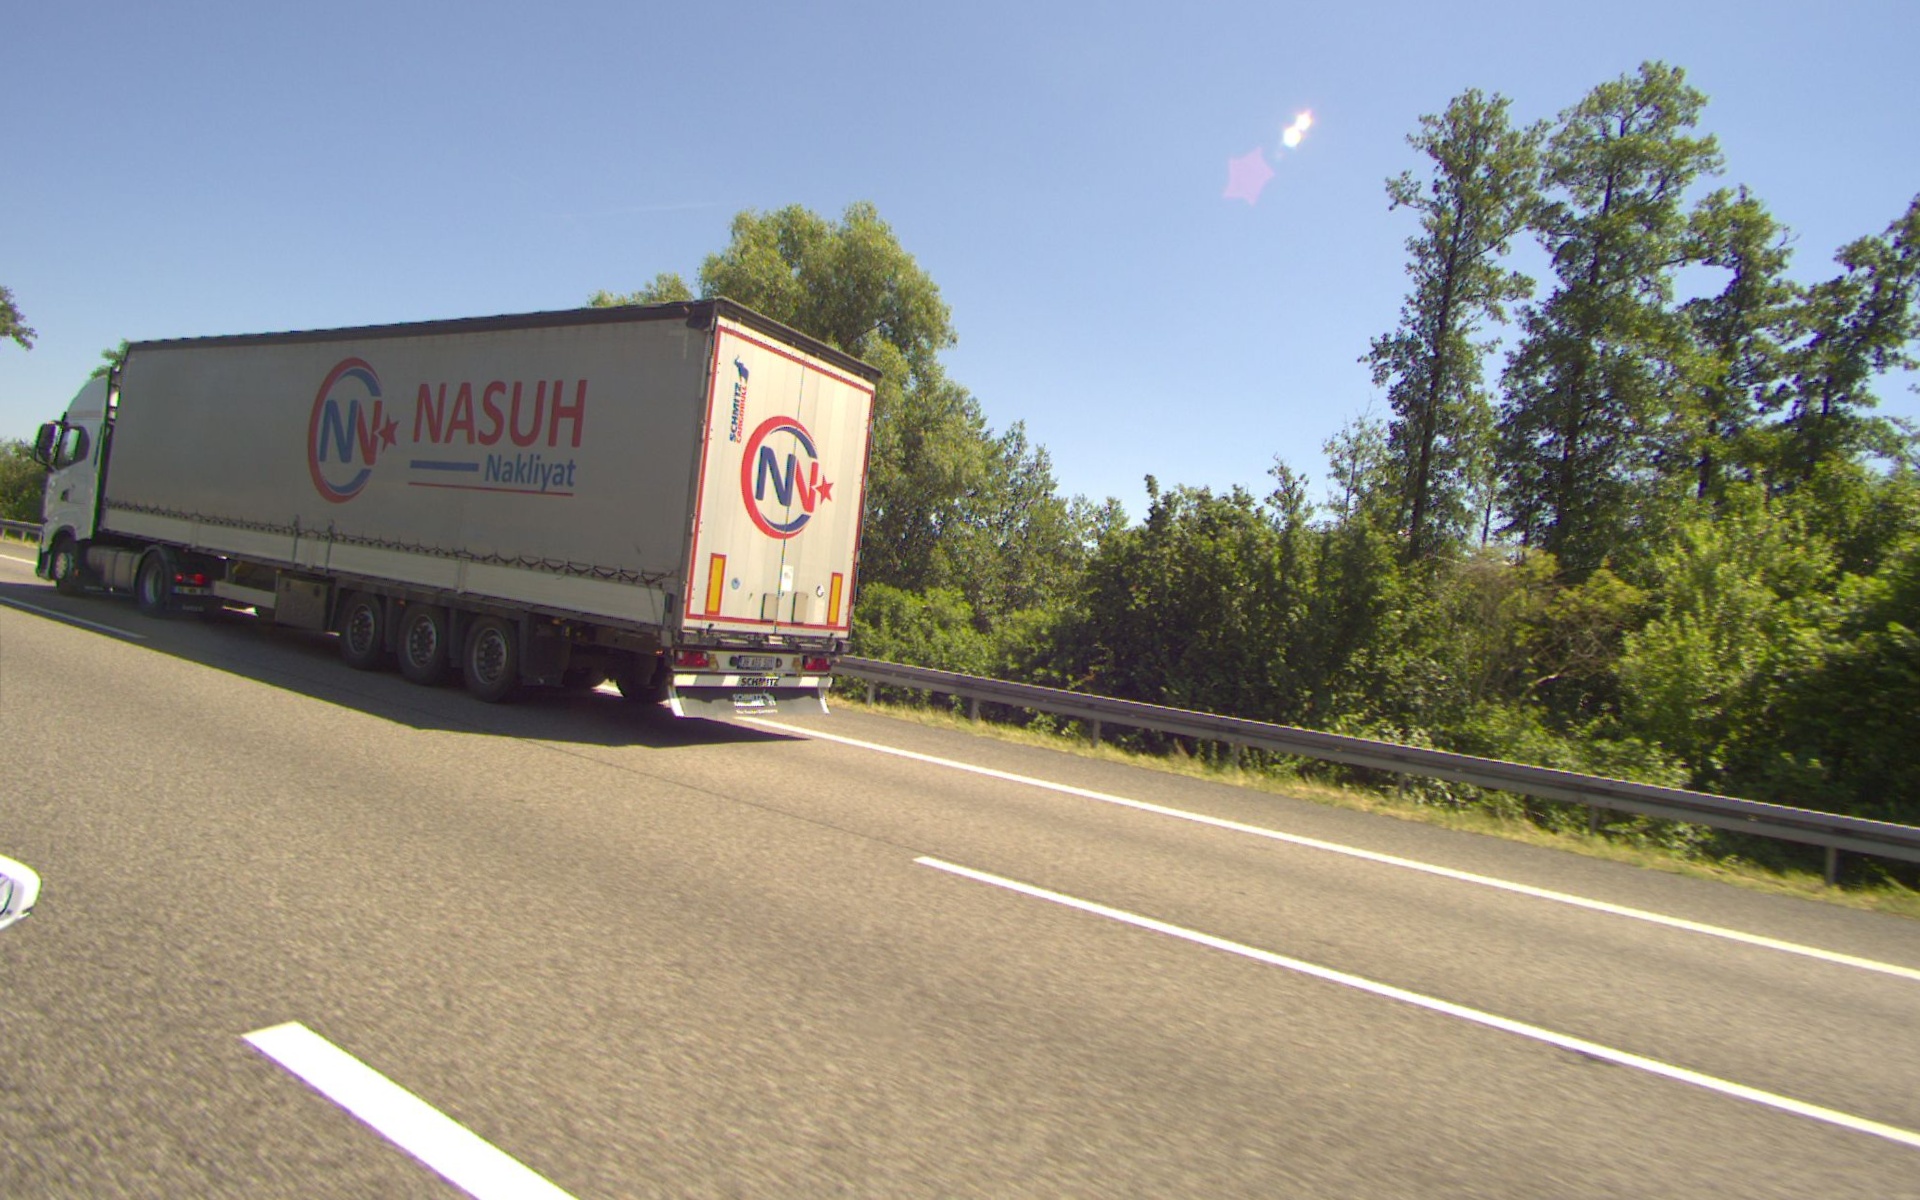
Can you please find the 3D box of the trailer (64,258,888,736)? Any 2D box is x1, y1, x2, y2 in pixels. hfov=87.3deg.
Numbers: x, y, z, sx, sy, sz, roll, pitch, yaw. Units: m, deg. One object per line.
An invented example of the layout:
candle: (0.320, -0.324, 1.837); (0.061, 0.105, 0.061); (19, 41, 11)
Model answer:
trailer: (-7.600, -1.451, 13.724); (13.826, 4.311, 2.629); (6, -1, 31)

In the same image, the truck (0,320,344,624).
truck: (-13.692, -2.120, 17.413); (5.345, 4.337, 2.610); (6, -1, 31)
